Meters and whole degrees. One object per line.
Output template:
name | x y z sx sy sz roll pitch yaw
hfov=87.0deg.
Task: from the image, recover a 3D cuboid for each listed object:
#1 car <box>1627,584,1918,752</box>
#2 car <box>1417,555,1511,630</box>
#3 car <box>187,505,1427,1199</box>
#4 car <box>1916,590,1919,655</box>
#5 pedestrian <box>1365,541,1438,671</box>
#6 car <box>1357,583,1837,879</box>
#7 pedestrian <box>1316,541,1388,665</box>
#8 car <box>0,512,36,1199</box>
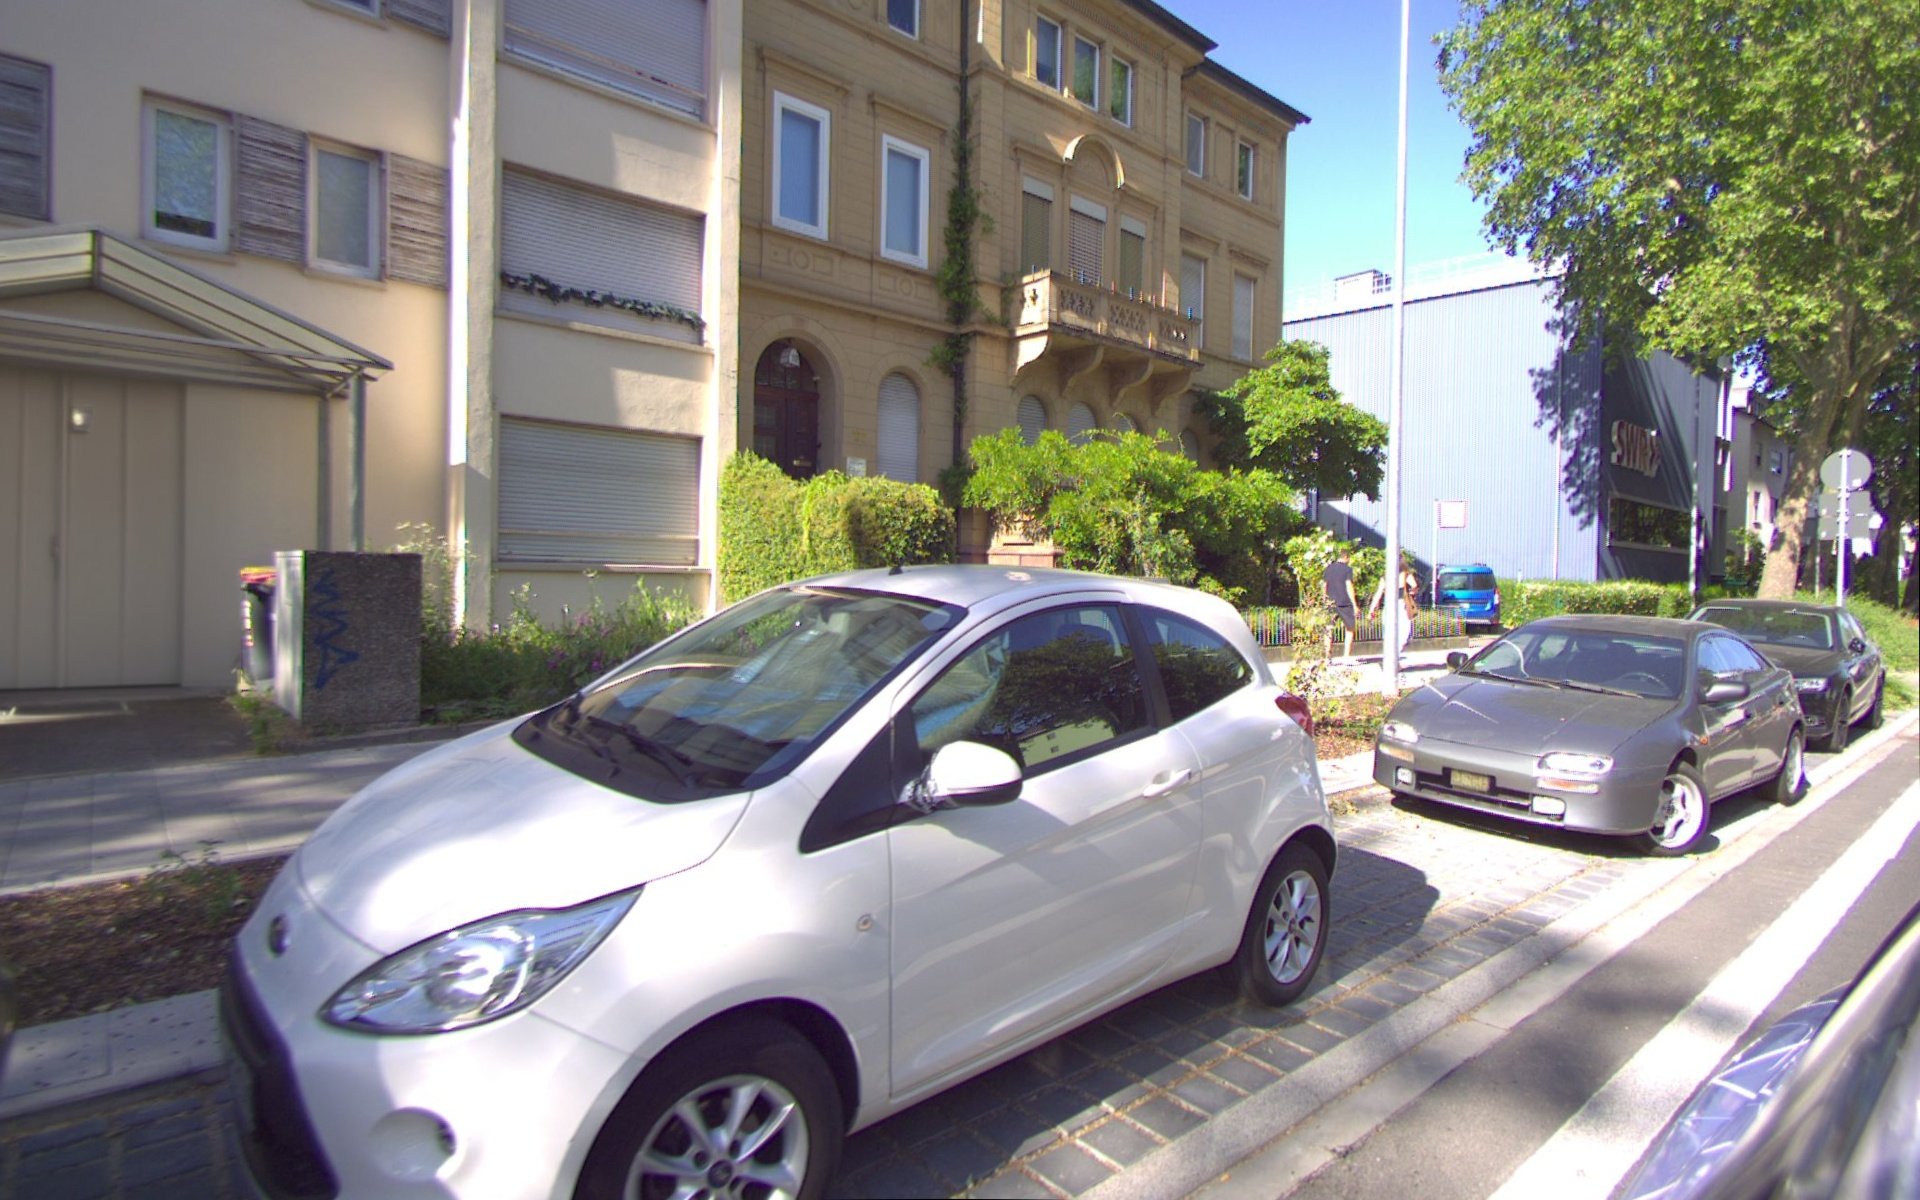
car | 9.207 0.598 11.330 4.398 1.429 1.720 0 5 -41
car | 13.675 -0.257 27.657 1.777 1.844 3.975 1 2 20
car | -0.150 0.560 3.282 3.669 1.504 1.623 0 3 -41
car | 24.695 0.559 24.645 3.928 1.536 1.673 0 2 -41
pedestrian | 6.417 0.069 14.703 0.702 1.818 0.698 0 1 -41
car | 4.595 0.640 7.067 3.978 1.430 1.720 0 3 -41
pedestrian | 5.943 0.032 15.346 0.788 1.818 0.698 0 1 -41
car | -3.134 0.616 0.431 3.986 1.504 1.623 0 3 -41
